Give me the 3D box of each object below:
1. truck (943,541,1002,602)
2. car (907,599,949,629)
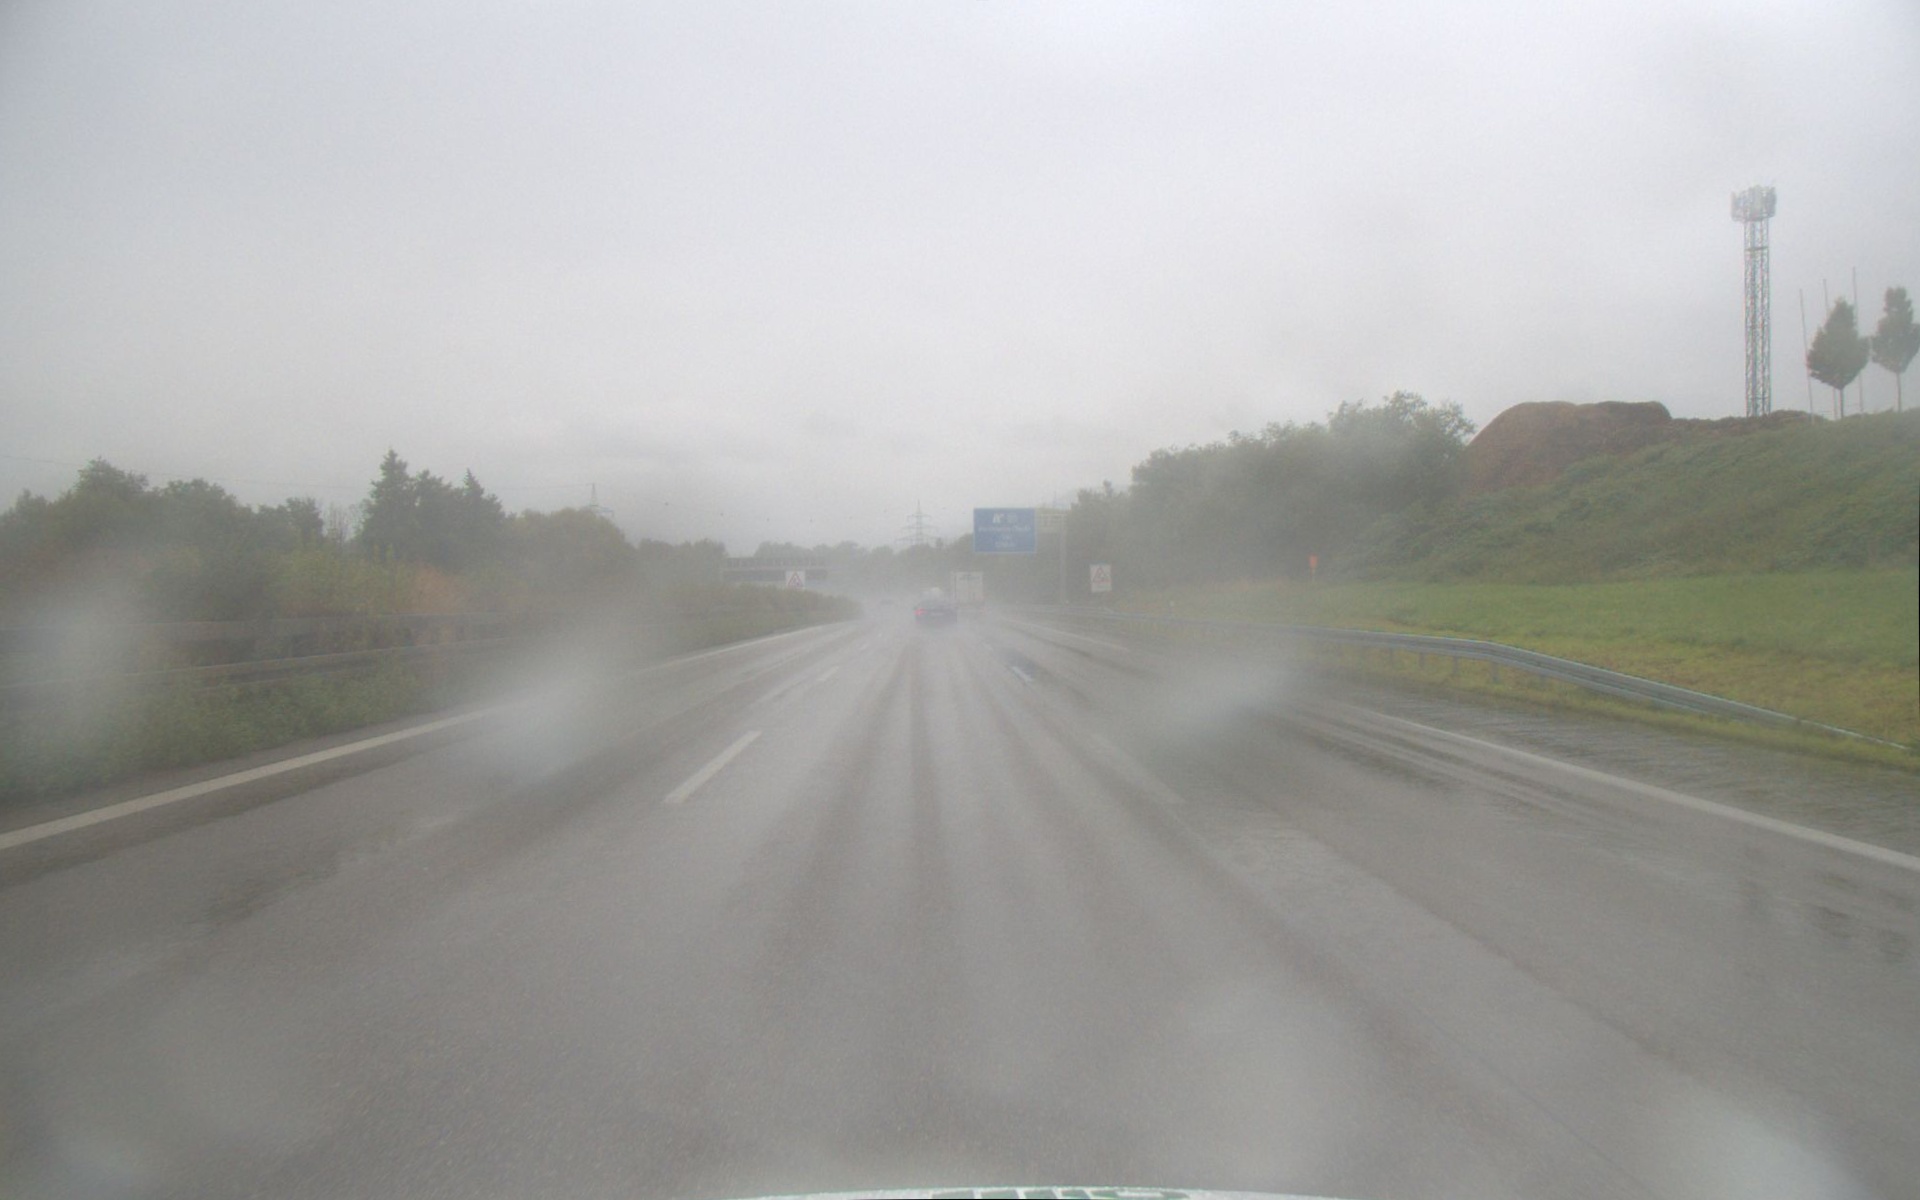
[{"bbox_3d":[0.961,-2.504,150.345,4.172,5.058,17.331,-3,1,-3],"label":"truck"},{"bbox_3d":[-1.373,0.573,69.621,1.713,1.233,3.998,0,0,-2],"label":"car"}]
